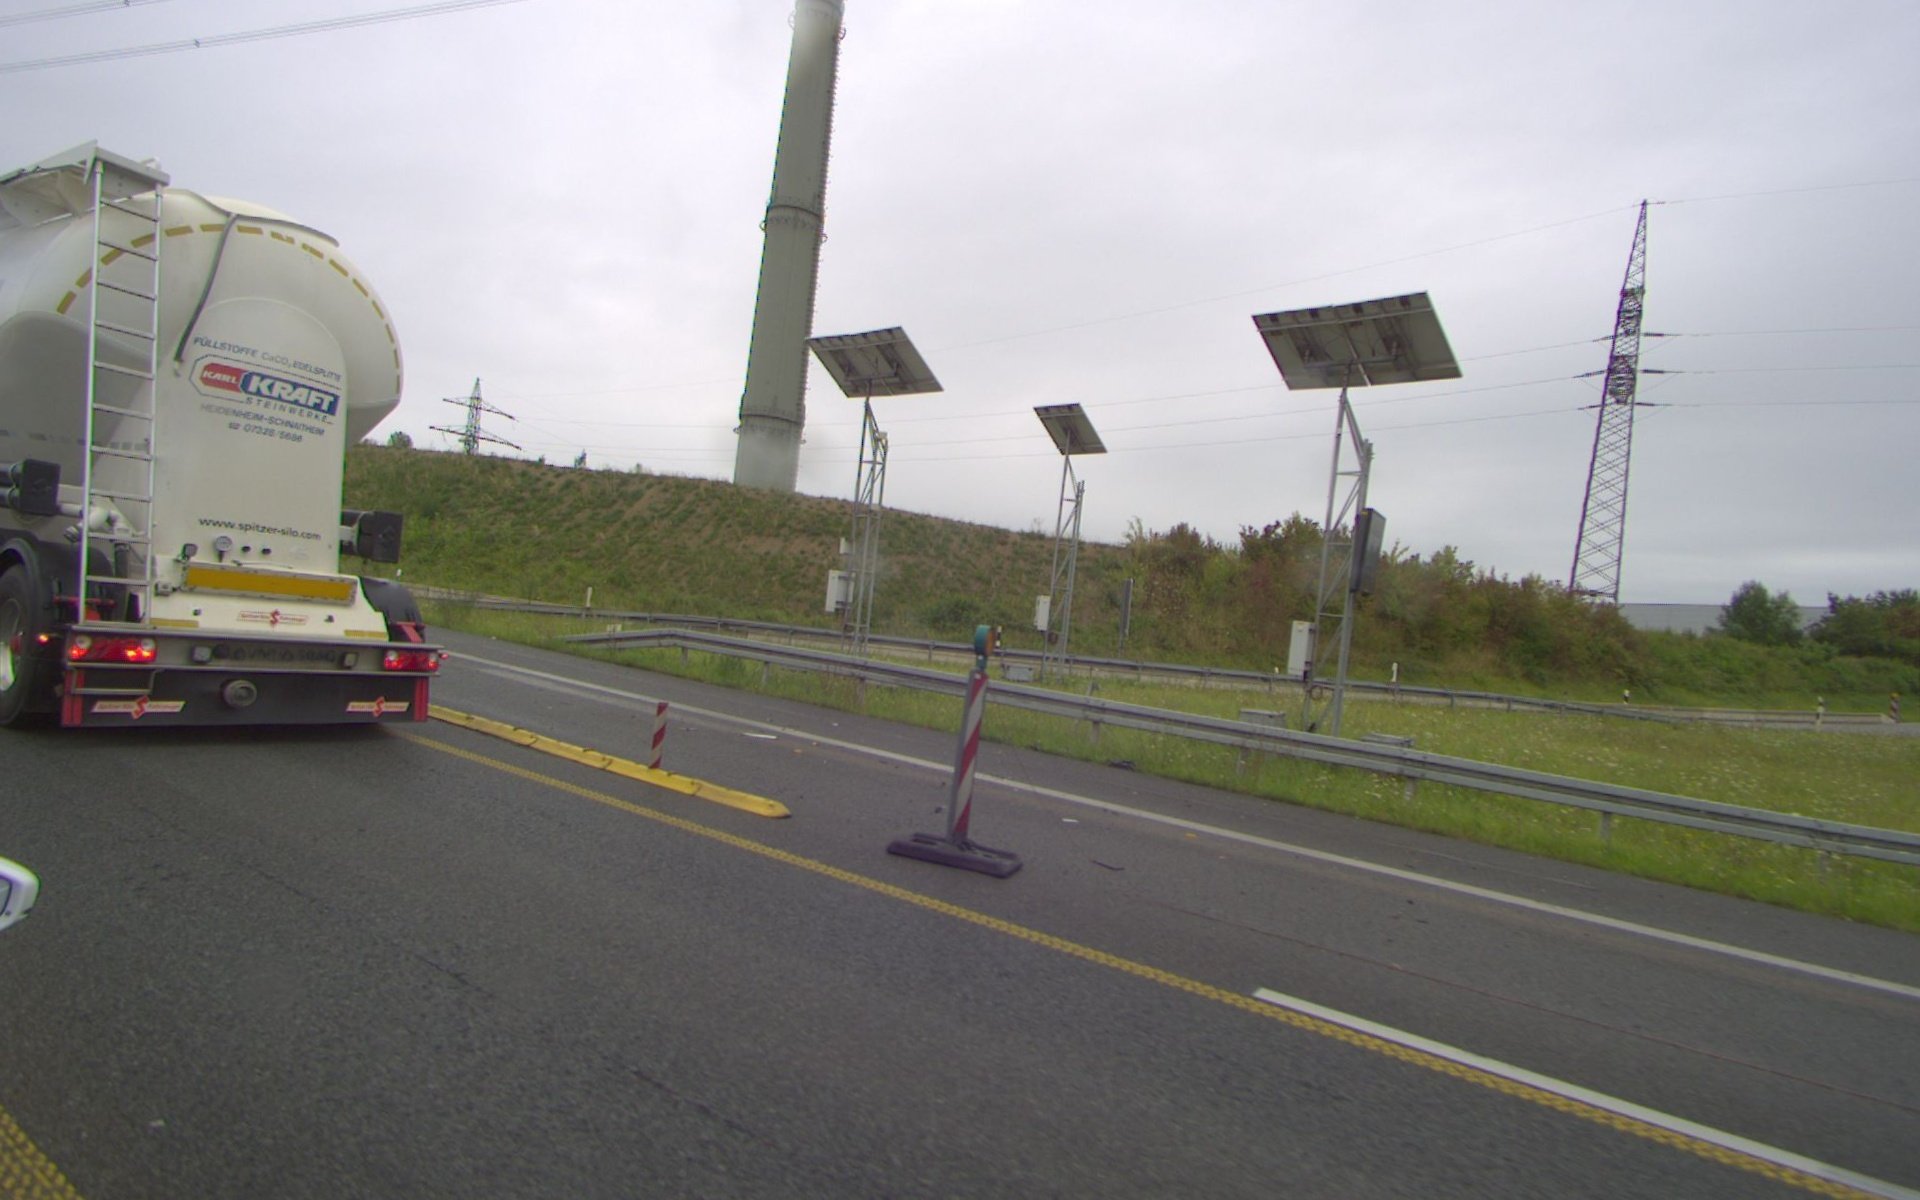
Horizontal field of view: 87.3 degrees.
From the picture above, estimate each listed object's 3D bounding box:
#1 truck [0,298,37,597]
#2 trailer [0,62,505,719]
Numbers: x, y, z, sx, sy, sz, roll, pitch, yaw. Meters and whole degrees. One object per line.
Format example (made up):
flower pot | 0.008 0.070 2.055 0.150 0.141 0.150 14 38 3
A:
truck | -14.760 -2.179 13.249 3.934 3.993 2.552 6 -1 32
trailer | -9.644 -1.642 10.169 12.147 3.878 2.524 6 -1 32
